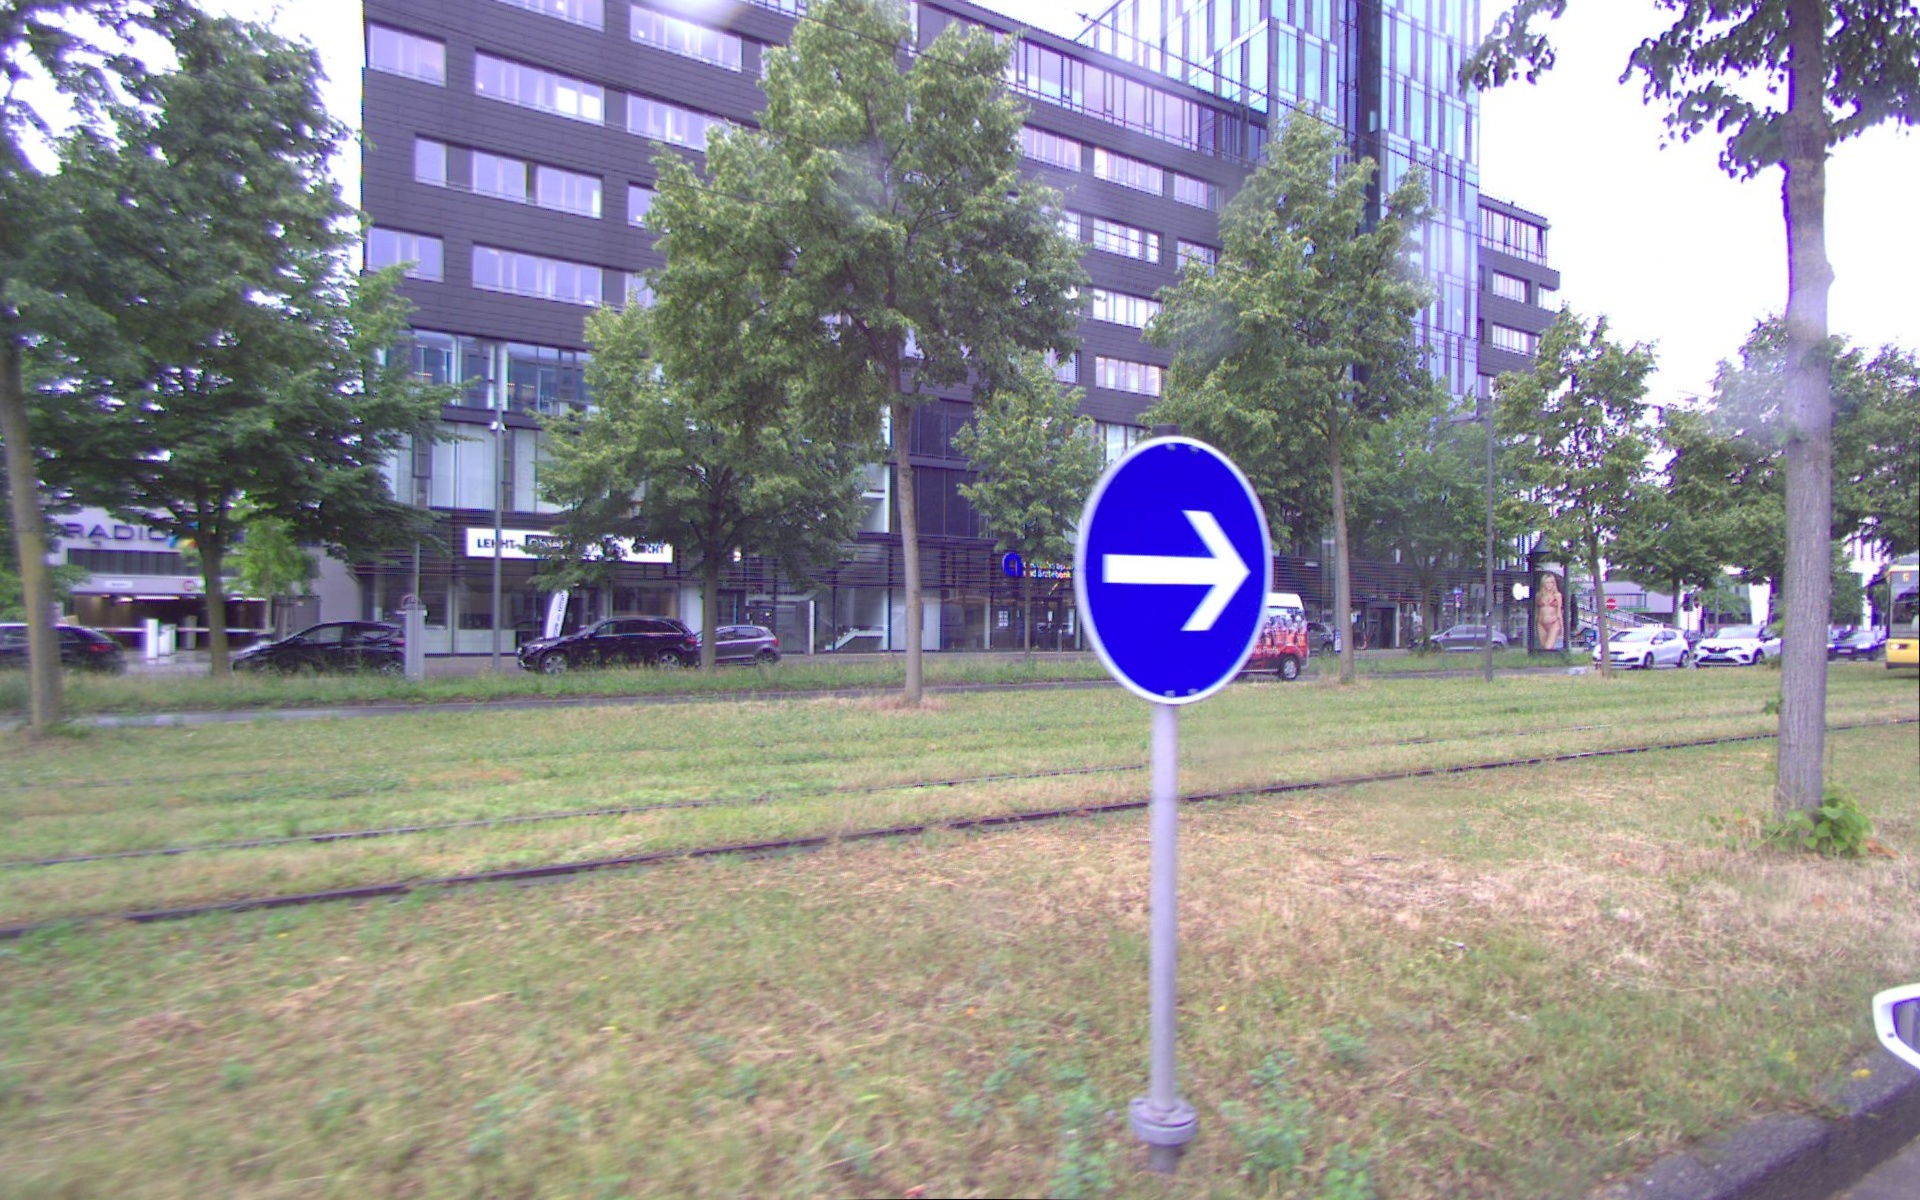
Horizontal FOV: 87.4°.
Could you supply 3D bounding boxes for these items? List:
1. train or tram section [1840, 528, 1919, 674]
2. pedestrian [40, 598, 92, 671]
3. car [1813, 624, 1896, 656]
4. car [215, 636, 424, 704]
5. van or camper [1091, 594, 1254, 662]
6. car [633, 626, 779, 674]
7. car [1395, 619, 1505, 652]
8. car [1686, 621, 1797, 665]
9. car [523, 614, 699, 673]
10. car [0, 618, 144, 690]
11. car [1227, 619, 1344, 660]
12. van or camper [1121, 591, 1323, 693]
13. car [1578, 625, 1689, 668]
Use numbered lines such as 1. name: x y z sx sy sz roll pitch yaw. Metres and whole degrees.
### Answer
1. train or tram section: 30.021 0.124 28.887 13.249 3.707 3.114 1 0 -31
2. pedestrian: -25.091 0.967 28.211 0.843 2.007 0.793 1 0 -22
3. car: 42.596 1.884 47.822 3.953 1.479 1.876 1 -1 -30
4. car: -14.792 1.569 23.463 3.953 1.397 1.984 1 -1 -30
5. van or camper: 7.872 1.027 37.088 5.781 2.346 2.422 1 -1 -30
6. car: -7.955 1.538 31.524 4.133 1.397 1.808 1 -1 -30
7. car: 24.640 1.772 50.653 4.586 1.542 2.001 0 -1 10
8. car: 26.924 1.444 34.590 3.953 1.423 1.702 1 -1 -30
9. car: -9.264 1.129 26.768 4.191 1.468 1.694 1 -1 -30
10. car: -19.608 1.083 20.747 3.953 1.397 1.984 1 -1 -30
11. car: 12.983 1.554 40.038 4.554 1.542 1.983 1 -1 -32
12. van or camper: 6.905 1.066 26.297 5.338 2.442 1.901 1 -1 -30
13. car: 24.755 1.667 36.916 3.953 1.479 1.876 1 -1 -30
